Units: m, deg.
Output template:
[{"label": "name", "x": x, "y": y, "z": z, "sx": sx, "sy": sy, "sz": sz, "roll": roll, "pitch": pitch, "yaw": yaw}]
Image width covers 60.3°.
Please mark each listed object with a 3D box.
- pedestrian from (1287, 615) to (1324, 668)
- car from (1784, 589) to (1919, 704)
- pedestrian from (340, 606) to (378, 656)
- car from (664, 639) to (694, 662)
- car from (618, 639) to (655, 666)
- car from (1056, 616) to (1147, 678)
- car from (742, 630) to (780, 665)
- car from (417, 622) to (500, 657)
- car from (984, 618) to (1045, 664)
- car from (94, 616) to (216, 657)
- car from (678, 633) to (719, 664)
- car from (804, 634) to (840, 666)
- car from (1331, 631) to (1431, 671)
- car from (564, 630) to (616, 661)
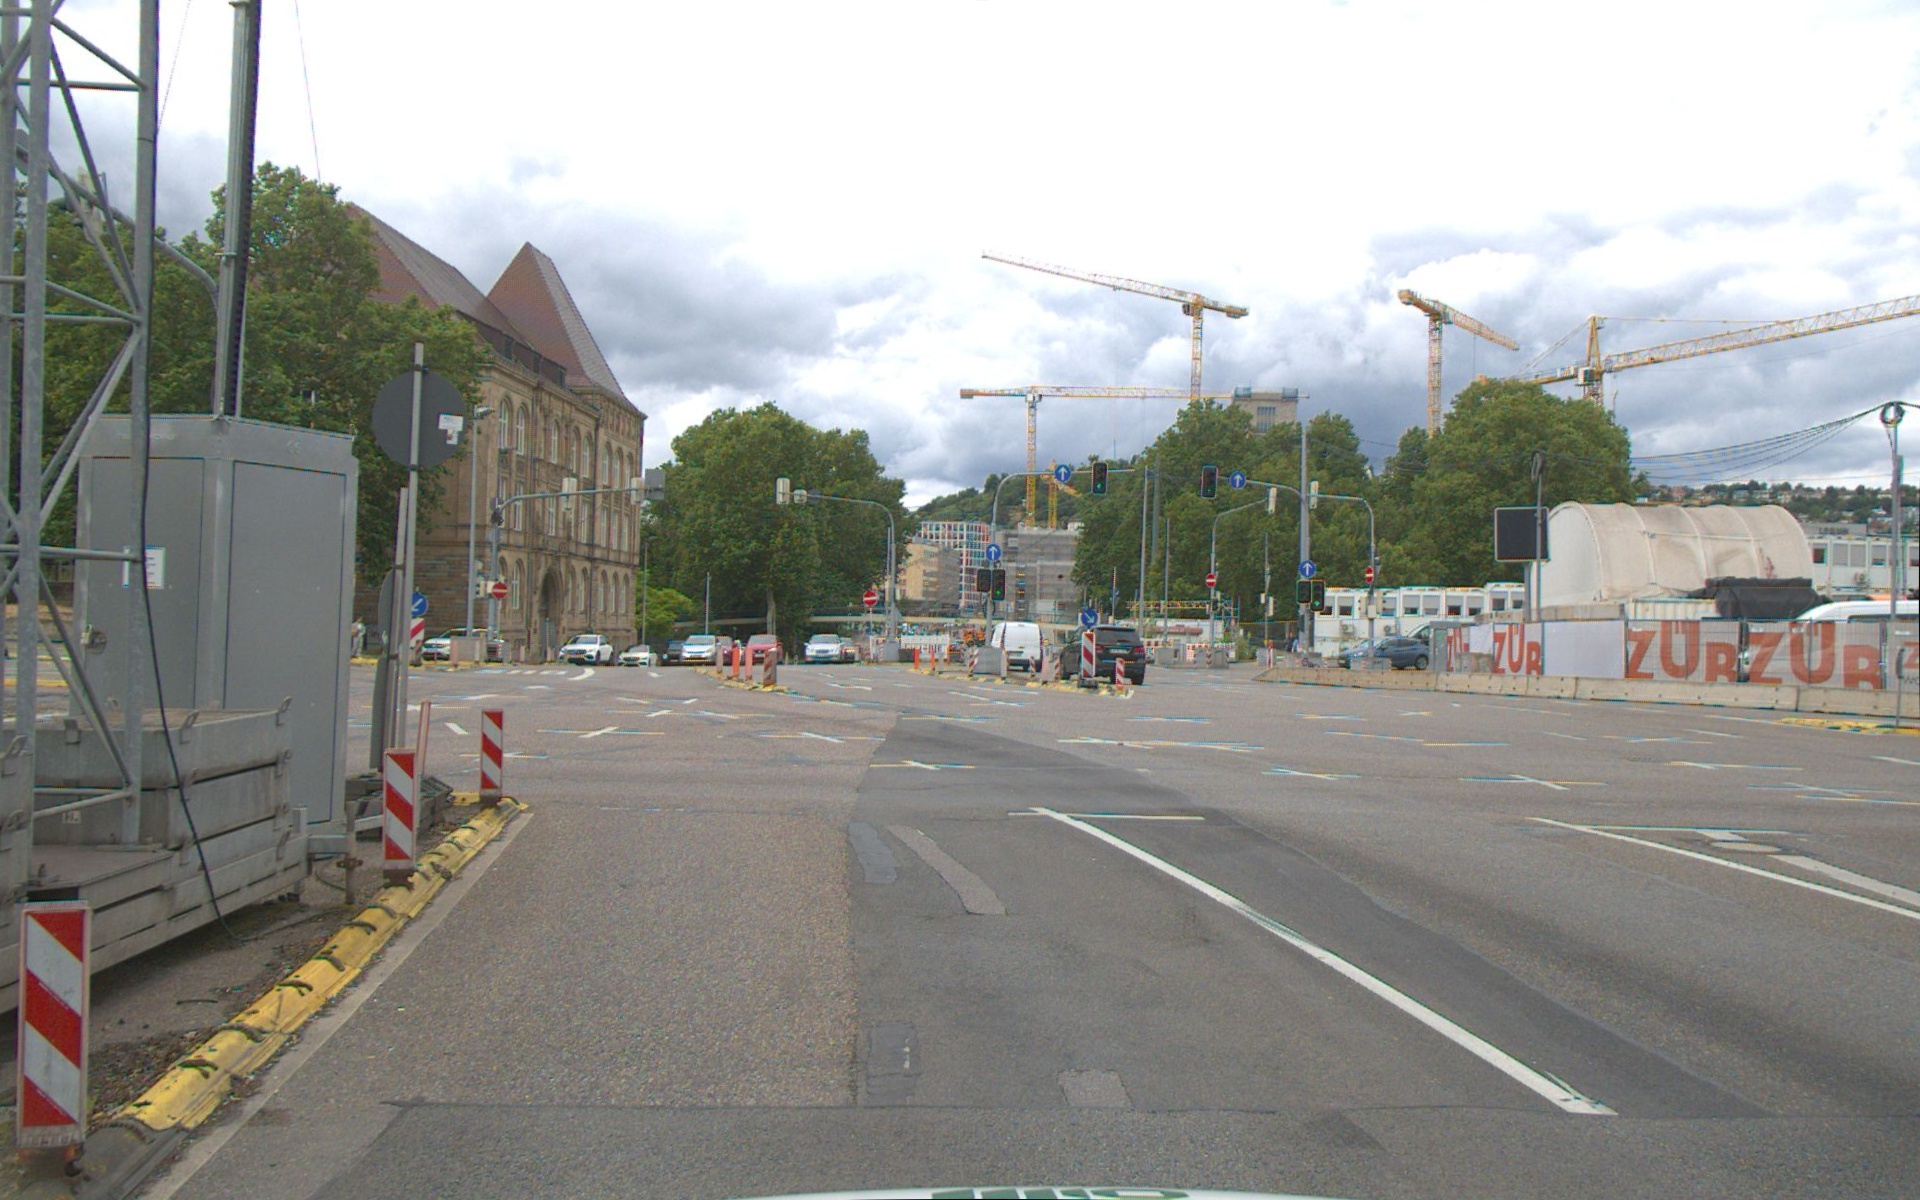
[{"label": "pedestrian", "x": 13.628, "y": 1.644, "z": 65.306, "sx": 1.074, "sy": 2.049, "sz": 1.182, "roll": 1, "pitch": -1, "yaw": -10}, {"label": "car", "x": 22.367, "y": 1.124, "z": 40.198, "sx": 3.902, "sy": 2.708, "sz": 1.682, "roll": 1, "pitch": -1, "yaw": 15}, {"label": "pedestrian", "x": -25.318, "y": 1.306, "z": 69.688, "sx": 1.170, "sy": 2.049, "sz": 1.171, "roll": 2, "pitch": -1, "yaw": -37}, {"label": "car", "x": -18.651, "y": 3.338, "z": 109.742, "sx": 1.643, "sy": 1.423, "sz": 3.679, "roll": 1, "pitch": -1, "yaw": -5}, {"label": "car", "x": -18.388, "y": 2.984, "z": 94.182, "sx": 1.643, "sy": 1.423, "sz": 3.679, "roll": 1, "pitch": -1, "yaw": -5}, {"label": "car", "x": 4.223, "y": 1.380, "z": 49.878, "sx": 1.798, "sy": 1.776, "sz": 4.247, "roll": 1, "pitch": -1, "yaw": -8}, {"label": "car", "x": -9.382, "y": 2.230, "z": 78.153, "sx": 1.643, "sy": 1.608, "sz": 3.679, "roll": 1, "pitch": -1, "yaw": -5}, {"label": "car", "x": -21.446, "y": 1.677, "z": 70.867, "sx": 1.640, "sy": 1.423, "sz": 3.685, "roll": 1, "pitch": -1, "yaw": 17}, {"label": "car", "x": 2.052, "y": 1.539, "z": 63.231, "sx": 1.782, "sy": 1.653, "sz": 3.995, "roll": 1, "pitch": -1, "yaw": -6}, {"label": "car", "x": -28.848, "y": 1.312, "z": 59.376, "sx": 1.644, "sy": 1.423, "sz": 3.677, "roll": 0, "pitch": -1, "yaw": 29}, {"label": "car", "x": -12.485, "y": 2.291, "z": 79.116, "sx": 1.643, "sy": 1.423, "sz": 3.679, "roll": 1, "pitch": -1, "yaw": -5}, {"label": "car", "x": -6.534, "y": 2.366, "z": 78.308, "sx": 1.643, "sy": 1.423, "sz": 3.679, "roll": 1, "pitch": -1, "yaw": -5}, {"label": "car", "x": 18.508, "y": 2.241, "z": 72.744, "sx": 3.924, "sy": 1.653, "sz": 1.814, "roll": 1, "pitch": -1, "yaw": -18}, {"label": "car", "x": -18.126, "y": 2.205, "z": 81.084, "sx": 1.641, "sy": 1.423, "sz": 3.683, "roll": 1, "pitch": -1, "yaw": 1}]
